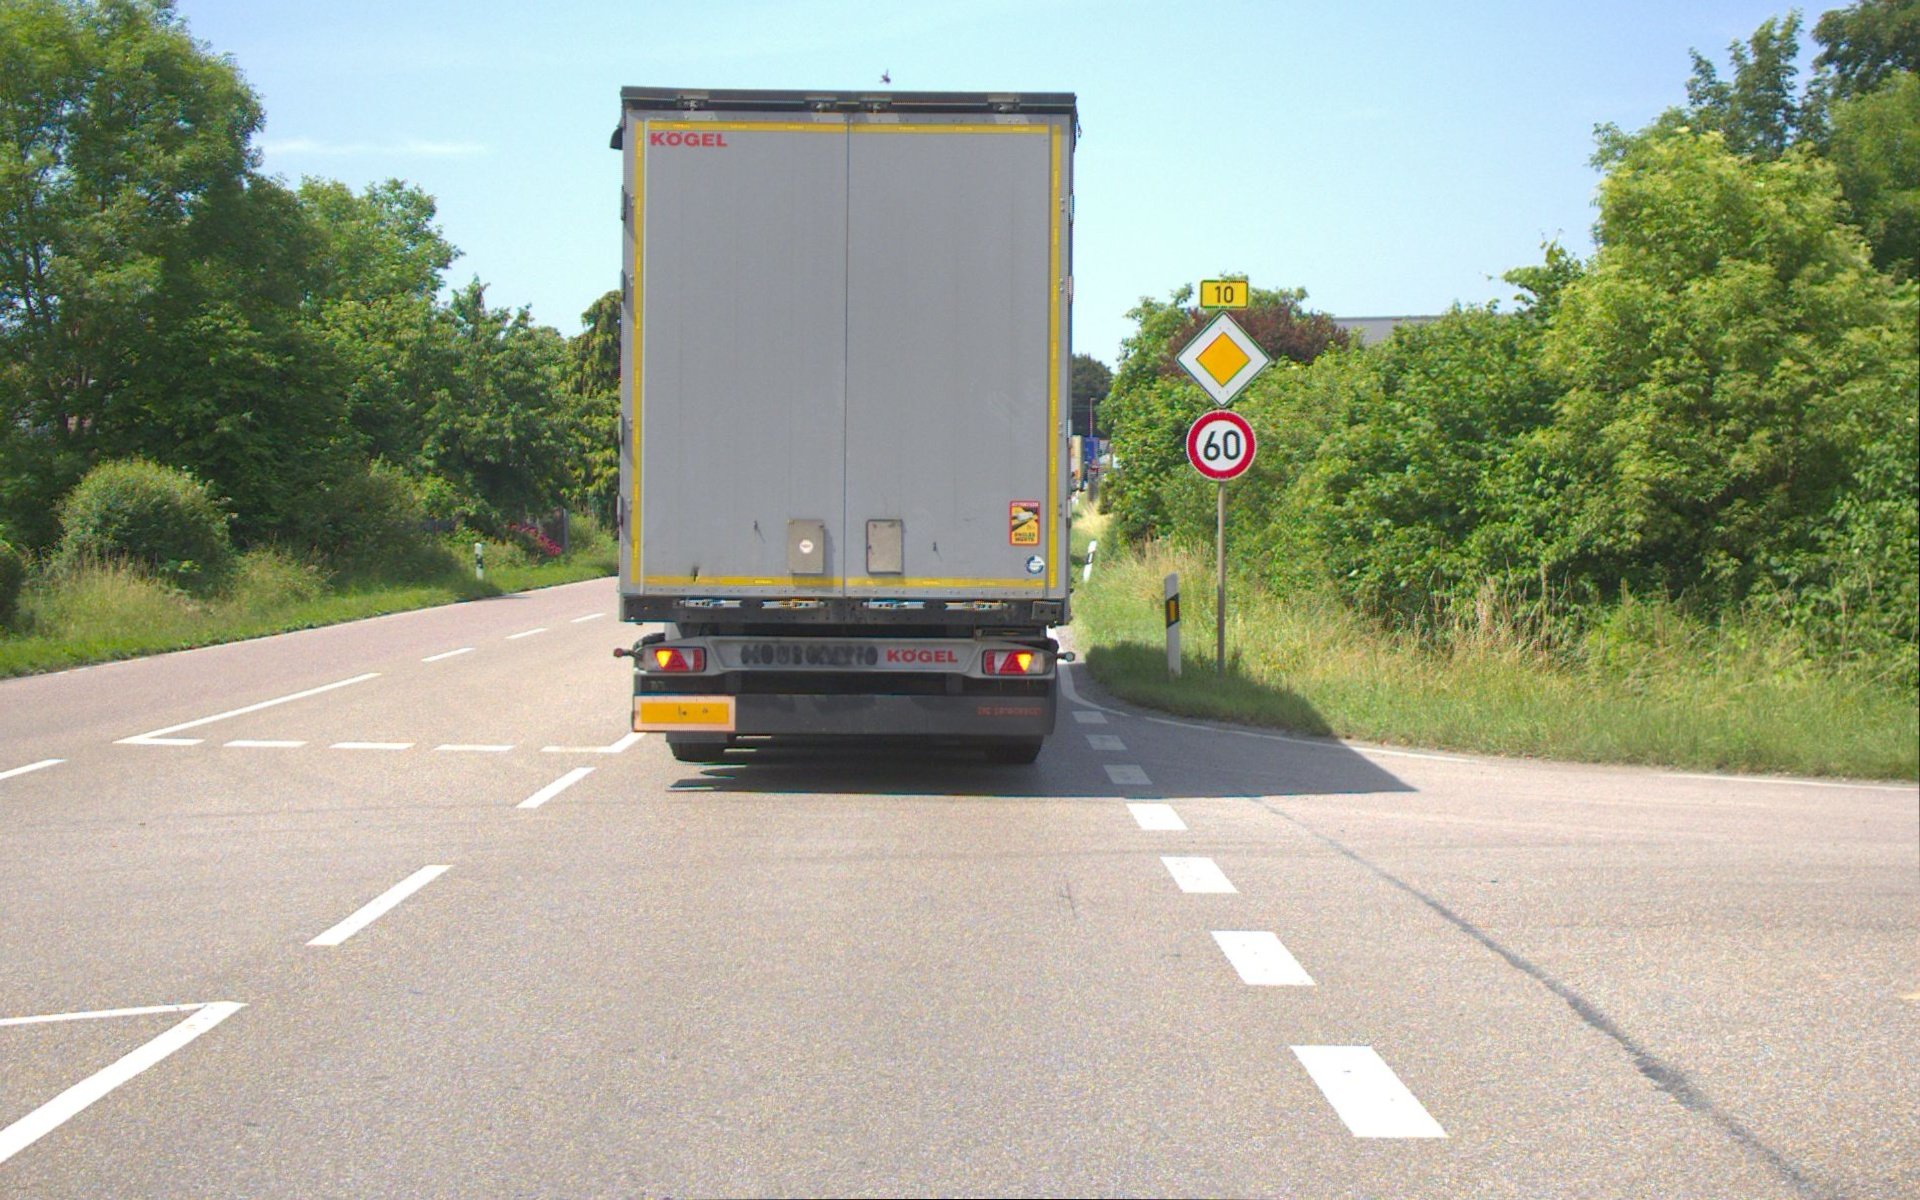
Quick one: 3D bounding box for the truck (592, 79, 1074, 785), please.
[{"bbox_3d":[-0.874,-1.077,23.558,2.647,3.903,8.827,1,2,-2],"label":"truck"}]
